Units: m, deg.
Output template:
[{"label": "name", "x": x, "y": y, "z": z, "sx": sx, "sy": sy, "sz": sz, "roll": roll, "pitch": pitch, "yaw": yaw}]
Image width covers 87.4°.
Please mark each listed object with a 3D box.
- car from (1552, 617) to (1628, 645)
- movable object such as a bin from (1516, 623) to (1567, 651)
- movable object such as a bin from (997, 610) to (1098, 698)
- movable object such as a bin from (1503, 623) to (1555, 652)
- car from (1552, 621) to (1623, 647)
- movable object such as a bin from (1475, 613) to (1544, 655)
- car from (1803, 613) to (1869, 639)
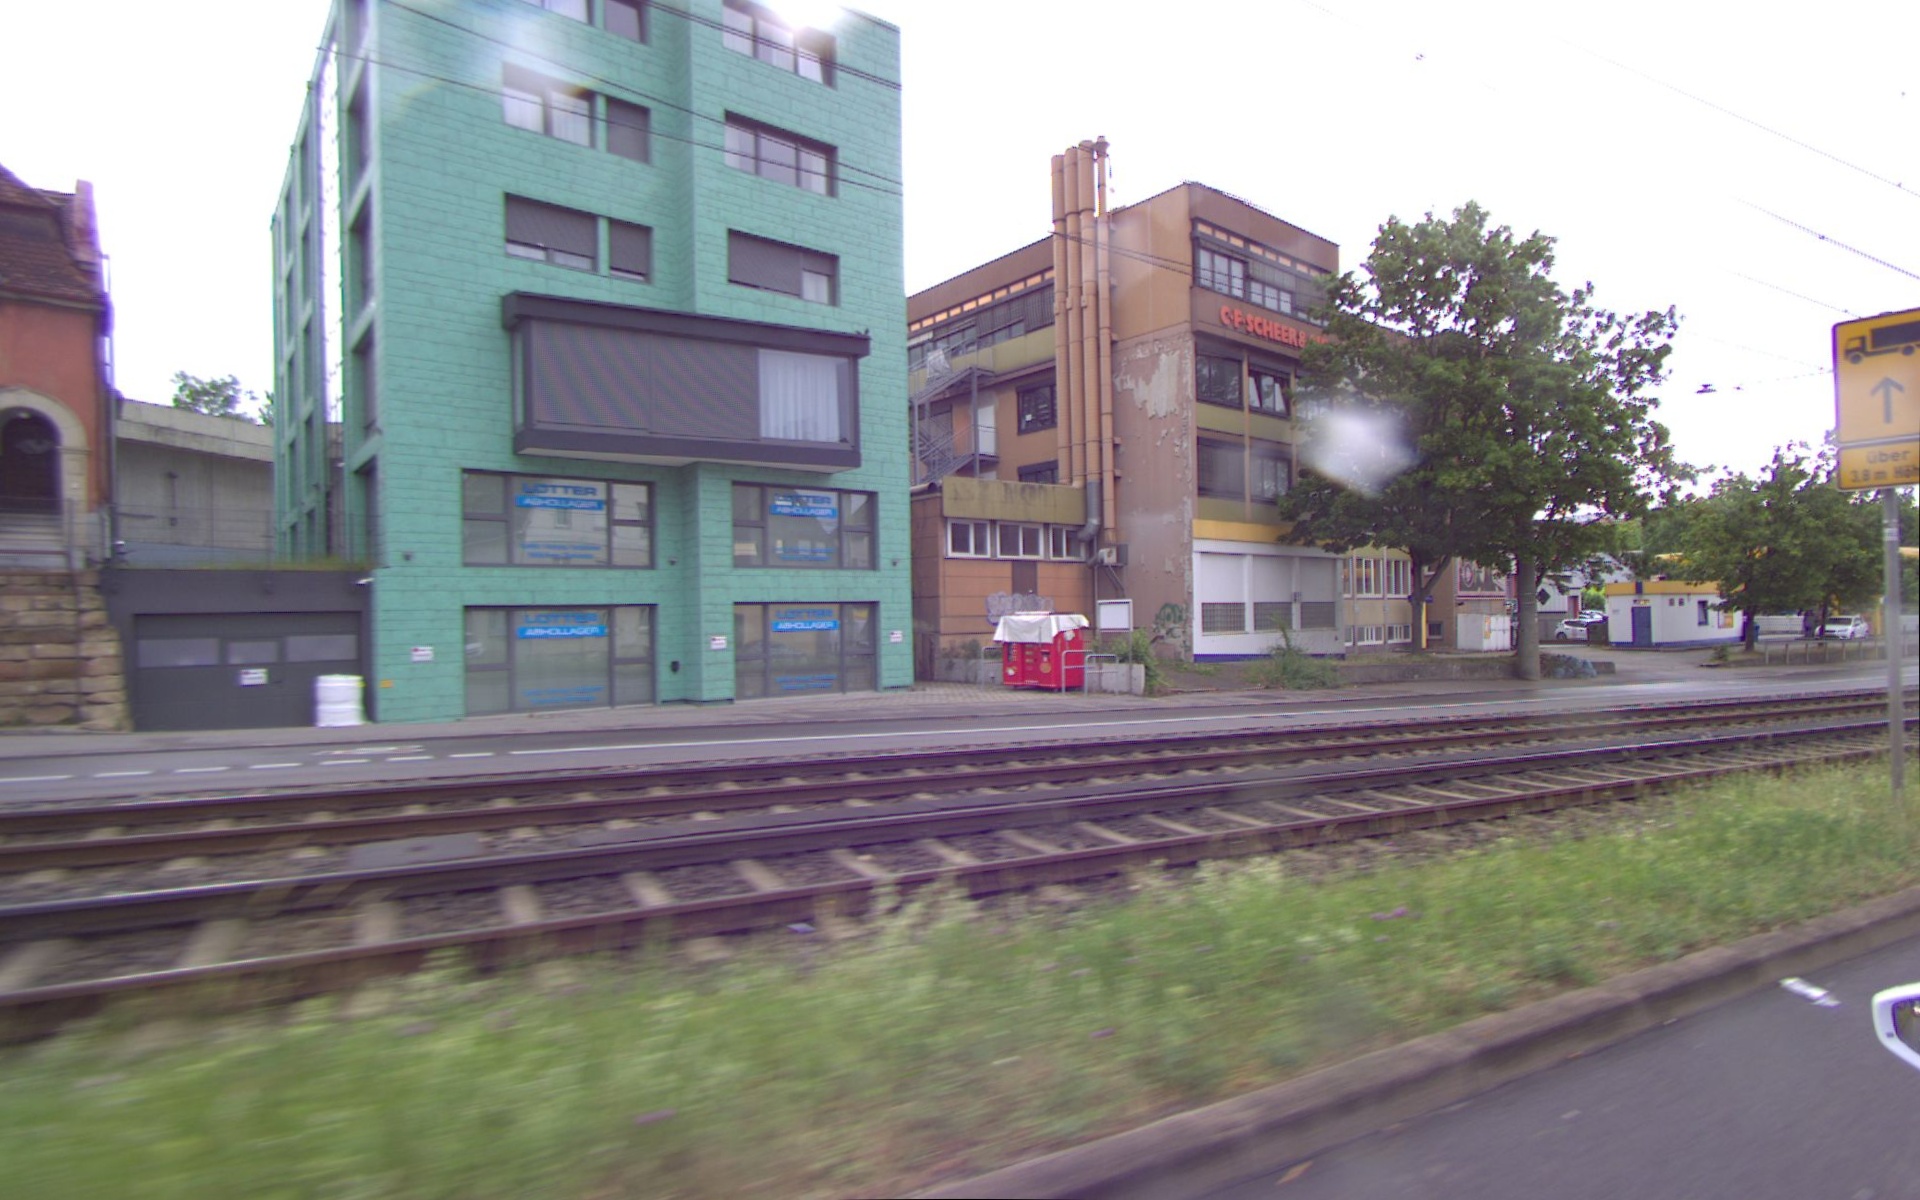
[{"label": "car", "x": 37.448, "y": 1.829, "z": 59.725, "sx": 3.714, "sy": 1.473, "sz": 1.547, "roll": 1, "pitch": -1, "yaw": 35}, {"label": "movable object such as a bin", "x": 31.513, "y": 1.973, "z": 54.442, "sx": 1.557, "sy": 1.394, "sz": 1.976, "roll": -1, "pitch": 2, "yaw": -40}, {"label": "movable object such as a bin", "x": 2.352, "y": 1.402, "z": 27.152, "sx": 1.786, "sy": 2.186, "sz": 2.117, "roll": -1, "pitch": 2, "yaw": -38}, {"label": "movable object such as a bin", "x": 30.007, "y": 1.936, "z": 52.980, "sx": 1.557, "sy": 1.394, "sz": 1.976, "roll": -1, "pitch": 2, "yaw": -40}, {"label": "car", "x": 40.065, "y": 2.137, "z": 64.157, "sx": 3.714, "sy": 1.499, "sz": 1.570, "roll": 2, "pitch": 0, "yaw": 35}, {"label": "movable object such as a bin", "x": 27.983, "y": 1.672, "z": 51.142, "sx": 3.543, "sy": 1.945, "sz": 1.976, "roll": -1, "pitch": 2, "yaw": -41}, {"label": "car", "x": 53.300, "y": 1.574, "z": 61.121, "sx": 3.956, "sy": 1.461, "sz": 1.982, "roll": 1, "pitch": 0, "yaw": -32}]
